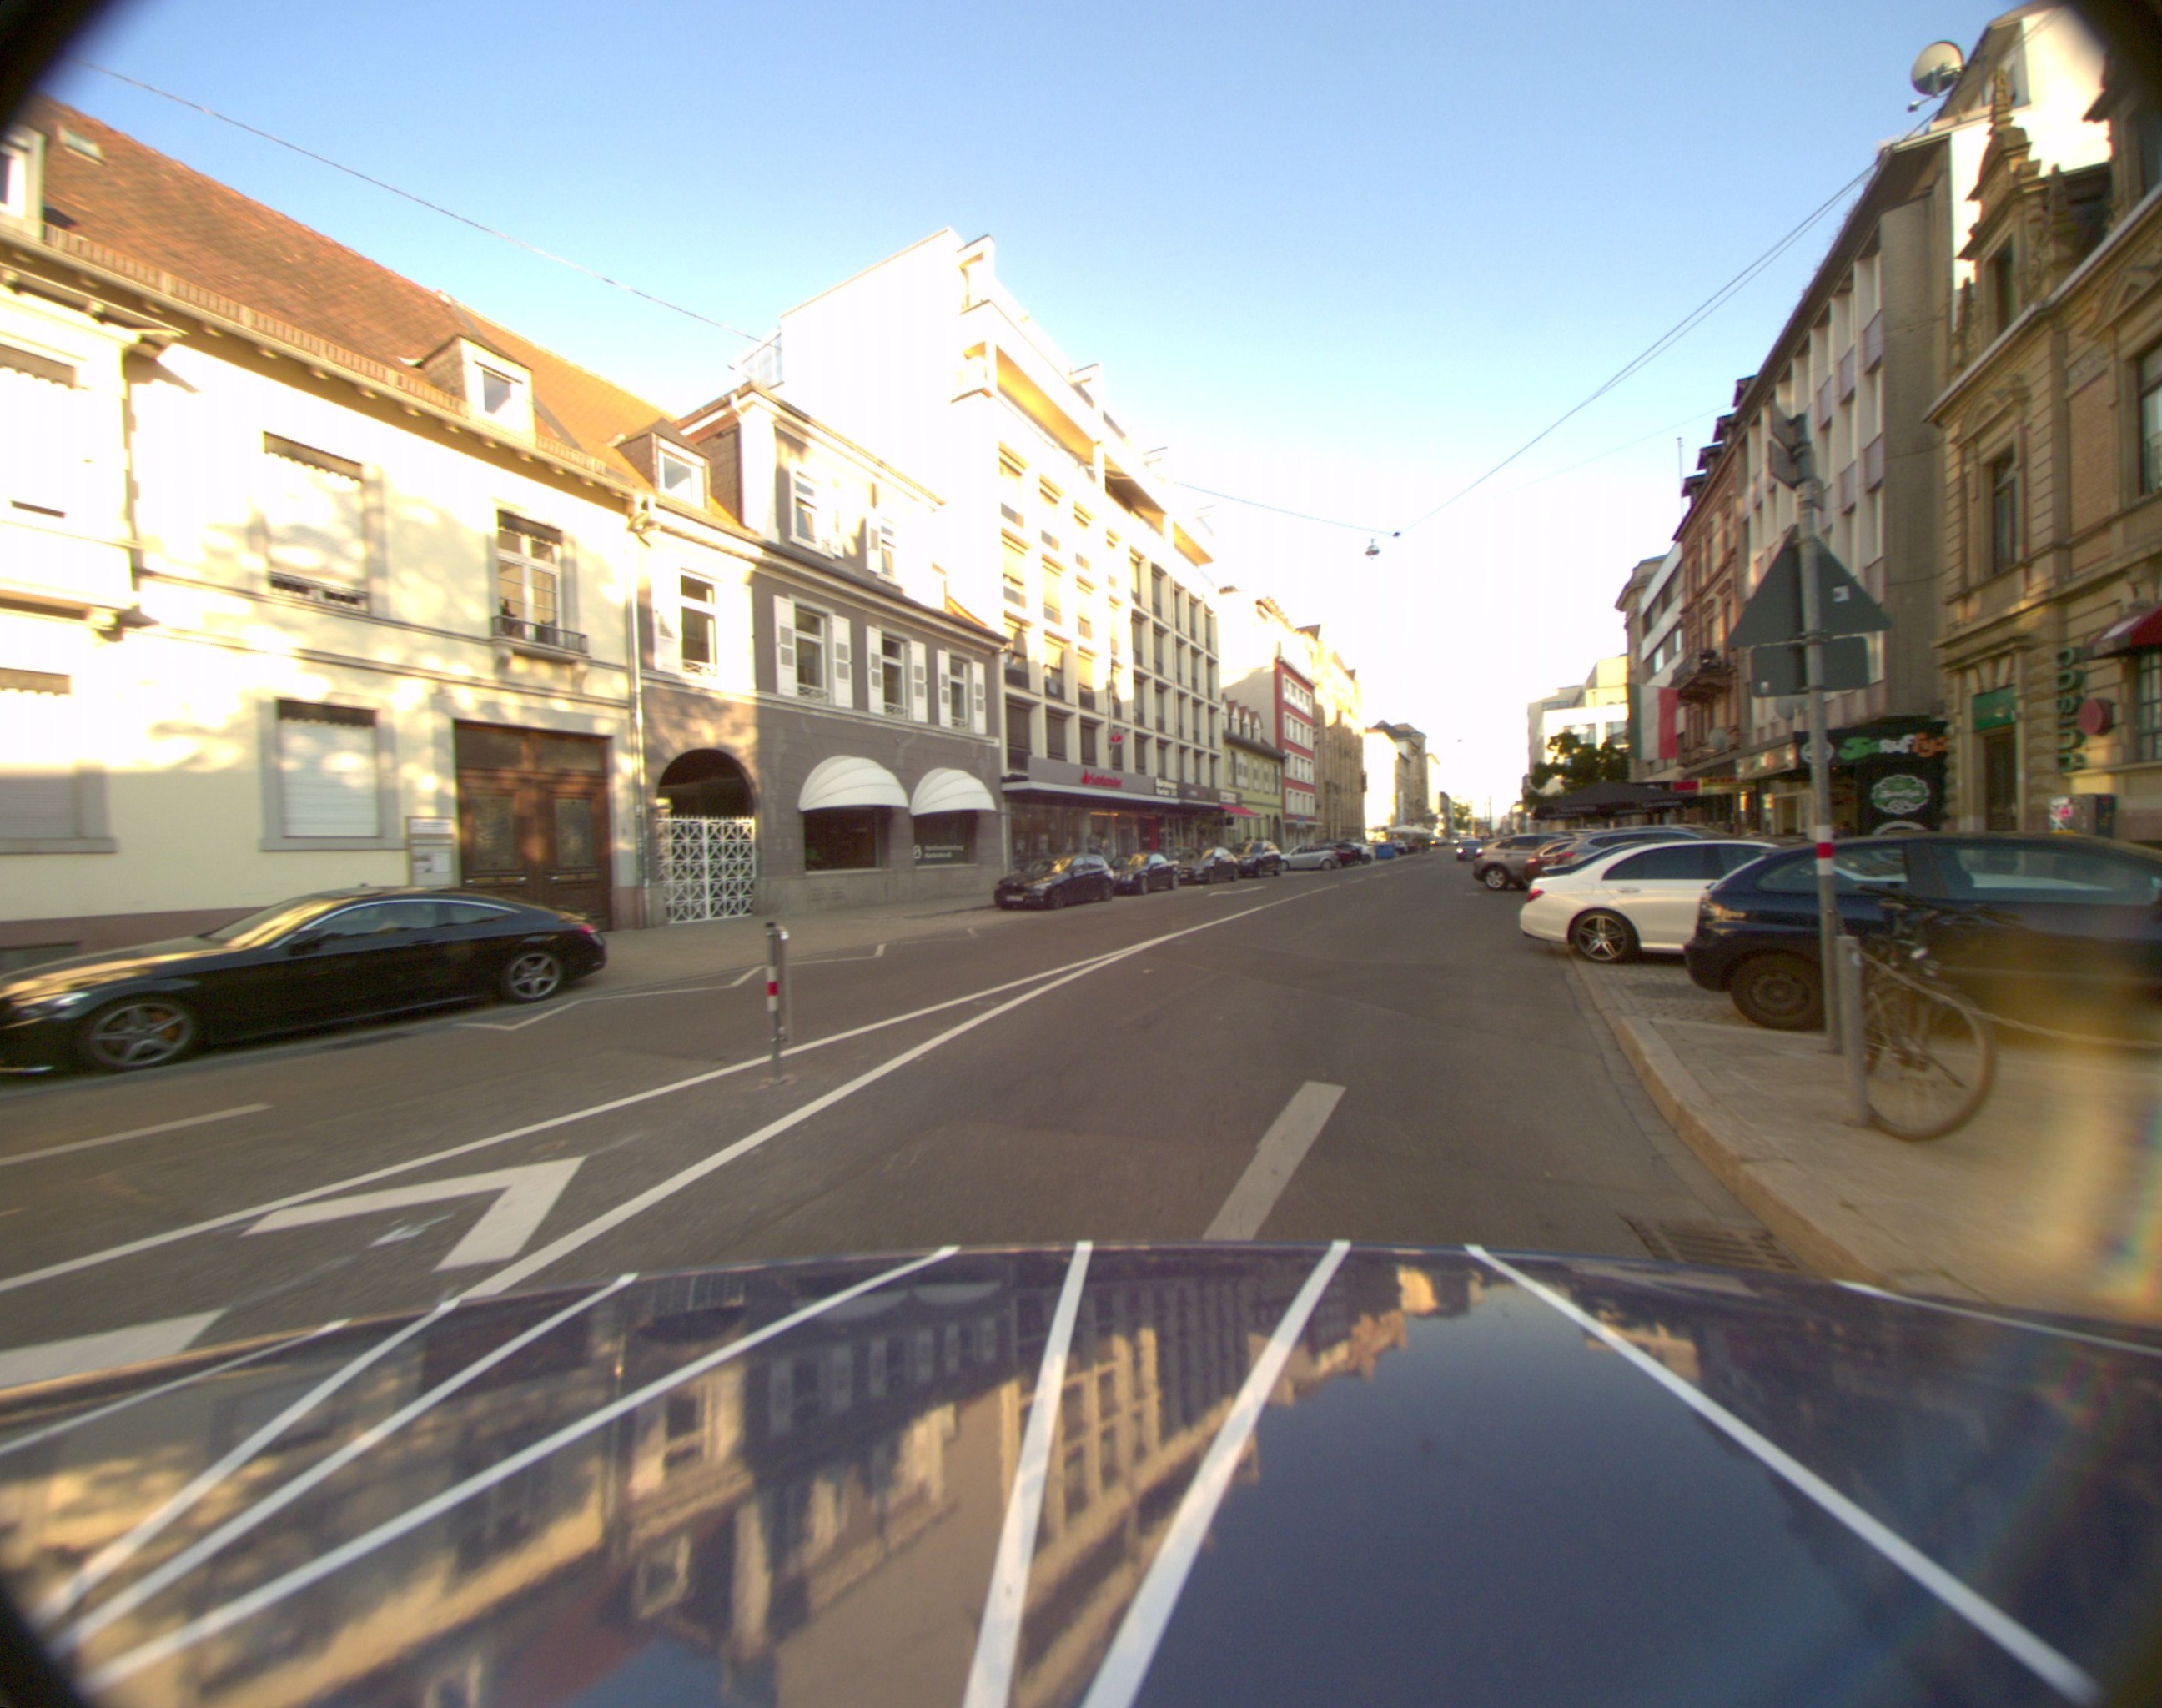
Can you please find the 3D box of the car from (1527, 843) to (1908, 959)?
[{"bbox_3d":[9.591,0.592,11.810,1.714,1.439,4.240,-1,1,-36],"label":"car"}]

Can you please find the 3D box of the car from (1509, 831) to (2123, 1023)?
[{"bbox_3d":[7.638,0.649,8.500,1.771,1.503,4.618,-3,-1,-33],"label":"car"}]

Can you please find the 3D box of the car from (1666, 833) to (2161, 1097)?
[{"bbox_3d":[6.575,0.632,5.055,1.744,1.452,3.854,-3,-2,-37],"label":"car"}]

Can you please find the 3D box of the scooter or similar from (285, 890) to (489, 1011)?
[{"bbox_3d":[-8.590,1.136,9.478,0.602,1.226,1.773,3,3,39],"label":"scooter or similar"}]

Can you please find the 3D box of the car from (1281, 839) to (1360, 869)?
[{"bbox_3d":[14.577,-0.015,46.407,4.227,1.667,1.753,-2,1,-5],"label":"car"}]

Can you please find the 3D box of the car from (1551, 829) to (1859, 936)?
[{"bbox_3d":[11.231,0.429,13.944,1.796,1.647,4.040,-2,1,-36],"label":"car"}]

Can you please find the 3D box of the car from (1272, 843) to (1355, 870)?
[{"bbox_3d":[13.428,0.143,44.030,4.227,1.431,1.753,-2,1,-5],"label":"car"}]

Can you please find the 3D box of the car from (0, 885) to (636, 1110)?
[{"bbox_3d":[-7.641,1.173,7.927,1.774,1.386,4.866,-2,0,31],"label":"car"}]

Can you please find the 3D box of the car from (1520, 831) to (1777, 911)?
[{"bbox_3d":[12.496,0.334,17.044,1.713,1.539,4.286,-3,1,-30],"label":"car"}]

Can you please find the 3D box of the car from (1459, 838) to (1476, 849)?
[{"bbox_3d":[53.401,-1.453,105.015,1.903,1.417,4.433,-1,1,30],"label":"car"}]

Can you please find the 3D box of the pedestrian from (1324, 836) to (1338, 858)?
[{"bbox_3d":[22.441,-0.640,68.230,0.848,1.933,1.014,-1,1,34],"label":"pedestrian"}]

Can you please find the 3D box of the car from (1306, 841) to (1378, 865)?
[{"bbox_3d":[17.511,-0.055,51.158,4.225,1.465,1.754,-2,1,-1],"label":"car"}]

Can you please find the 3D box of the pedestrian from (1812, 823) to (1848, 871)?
[{"bbox_3d":[20.546,-0.198,20.856,0.573,1.301,0.577,-1,1,30],"label":"pedestrian"}]

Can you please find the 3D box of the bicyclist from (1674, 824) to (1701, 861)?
[{"bbox_3d":[26.471,-0.514,33.159,0.766,1.550,0.814,-2,1,28],"label":"bicyclist"}]

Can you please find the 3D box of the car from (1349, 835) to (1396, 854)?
[{"bbox_3d":[30.801,-1.035,80.344,4.223,1.871,1.754,-2,1,4],"label":"car"}]

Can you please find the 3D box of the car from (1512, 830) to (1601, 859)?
[{"bbox_3d":[31.558,-0.623,50.464,4.828,1.763,1.912,-1,1,37],"label":"car"}]

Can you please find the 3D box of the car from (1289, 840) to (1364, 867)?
[{"bbox_3d":[15.682,-0.050,48.735,4.225,1.607,1.754,-2,1,-1],"label":"car"}]

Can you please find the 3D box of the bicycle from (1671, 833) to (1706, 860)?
[{"bbox_3d":[26.514,-0.342,33.192,0.766,1.108,2.182,-2,1,28],"label":"bicycle"}]

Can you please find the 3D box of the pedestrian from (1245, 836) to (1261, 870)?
[{"bbox_3d":[10.518,-0.061,46.535,0.761,2.055,0.720,-1,1,28],"label":"pedestrian"}]

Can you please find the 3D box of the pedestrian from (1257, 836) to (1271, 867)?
[{"bbox_3d":[11.090,-0.158,46.129,0.611,1.876,0.720,-1,1,28],"label":"pedestrian"}]

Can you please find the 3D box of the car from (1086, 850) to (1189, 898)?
[{"bbox_3d":[2.013,0.623,25.507,1.743,1.379,4.509,-1,1,28],"label":"car"}]

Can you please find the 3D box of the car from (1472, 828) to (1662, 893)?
[{"bbox_3d":[13.450,0.218,21.215,1.856,1.619,4.042,-3,0,-40],"label":"car"}]

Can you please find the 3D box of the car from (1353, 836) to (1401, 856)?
[{"bbox_3d":[27.433,-0.712,70.514,3.833,1.743,1.754,-2,1,4],"label":"car"}]

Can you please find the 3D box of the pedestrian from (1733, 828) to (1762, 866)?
[{"bbox_3d":[22.236,-0.226,25.348,0.575,1.238,0.676,-1,1,29],"label":"pedestrian"}]

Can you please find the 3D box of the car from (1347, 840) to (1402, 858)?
[{"bbox_3d":[26.163,-0.478,67.876,4.223,1.465,1.754,-2,1,4],"label":"car"}]

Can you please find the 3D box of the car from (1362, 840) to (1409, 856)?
[{"bbox_3d":[29.305,-0.595,73.103,3.833,1.339,1.739,-2,0,4],"label":"car"}]

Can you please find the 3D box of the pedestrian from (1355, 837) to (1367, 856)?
[{"bbox_3d":[27.828,-0.749,75.609,0.848,1.789,1.014,-1,1,34],"label":"pedestrian"}]

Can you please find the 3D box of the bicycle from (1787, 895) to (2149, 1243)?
[{"bbox_3d":[4.062,0.836,3.670,0.726,1.119,1.807,-4,-1,38],"label":"bicycle"}]

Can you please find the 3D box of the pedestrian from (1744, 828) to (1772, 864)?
[{"bbox_3d":[23.472,-0.272,26.366,0.575,1.238,0.676,-1,1,29],"label":"pedestrian"}]

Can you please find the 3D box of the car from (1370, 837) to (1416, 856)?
[{"bbox_3d":[31.135,-0.691,75.854,3.833,1.714,1.755,-2,0,4],"label":"car"}]

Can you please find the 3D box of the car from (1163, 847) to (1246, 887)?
[{"bbox_3d":[5.037,0.481,30.549,1.743,1.438,4.567,-1,1,30],"label":"car"}]

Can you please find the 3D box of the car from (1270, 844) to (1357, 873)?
[{"bbox_3d":[12.665,0.234,41.487,4.229,1.431,1.752,-2,1,-10],"label":"car"}]

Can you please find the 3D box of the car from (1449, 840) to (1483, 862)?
[{"bbox_3d":[27.051,-0.254,53.339,1.903,1.417,4.433,-1,1,30],"label":"car"}]

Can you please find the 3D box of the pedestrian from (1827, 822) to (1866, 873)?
[{"bbox_3d":[20.013,-0.165,19.873,0.573,1.301,0.577,-1,1,30],"label":"pedestrian"}]

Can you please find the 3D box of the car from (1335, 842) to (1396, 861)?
[{"bbox_3d":[23.070,-0.208,61.652,4.225,1.465,1.754,-2,1,-1],"label":"car"}]

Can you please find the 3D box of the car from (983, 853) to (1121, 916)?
[{"bbox_3d":[-0.648,0.752,20.656,1.743,1.438,4.257,-1,1,29],"label":"car"}]

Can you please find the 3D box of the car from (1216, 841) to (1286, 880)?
[{"bbox_3d":[7.890,0.257,34.928,1.828,1.649,4.370,-1,1,31],"label":"car"}]
